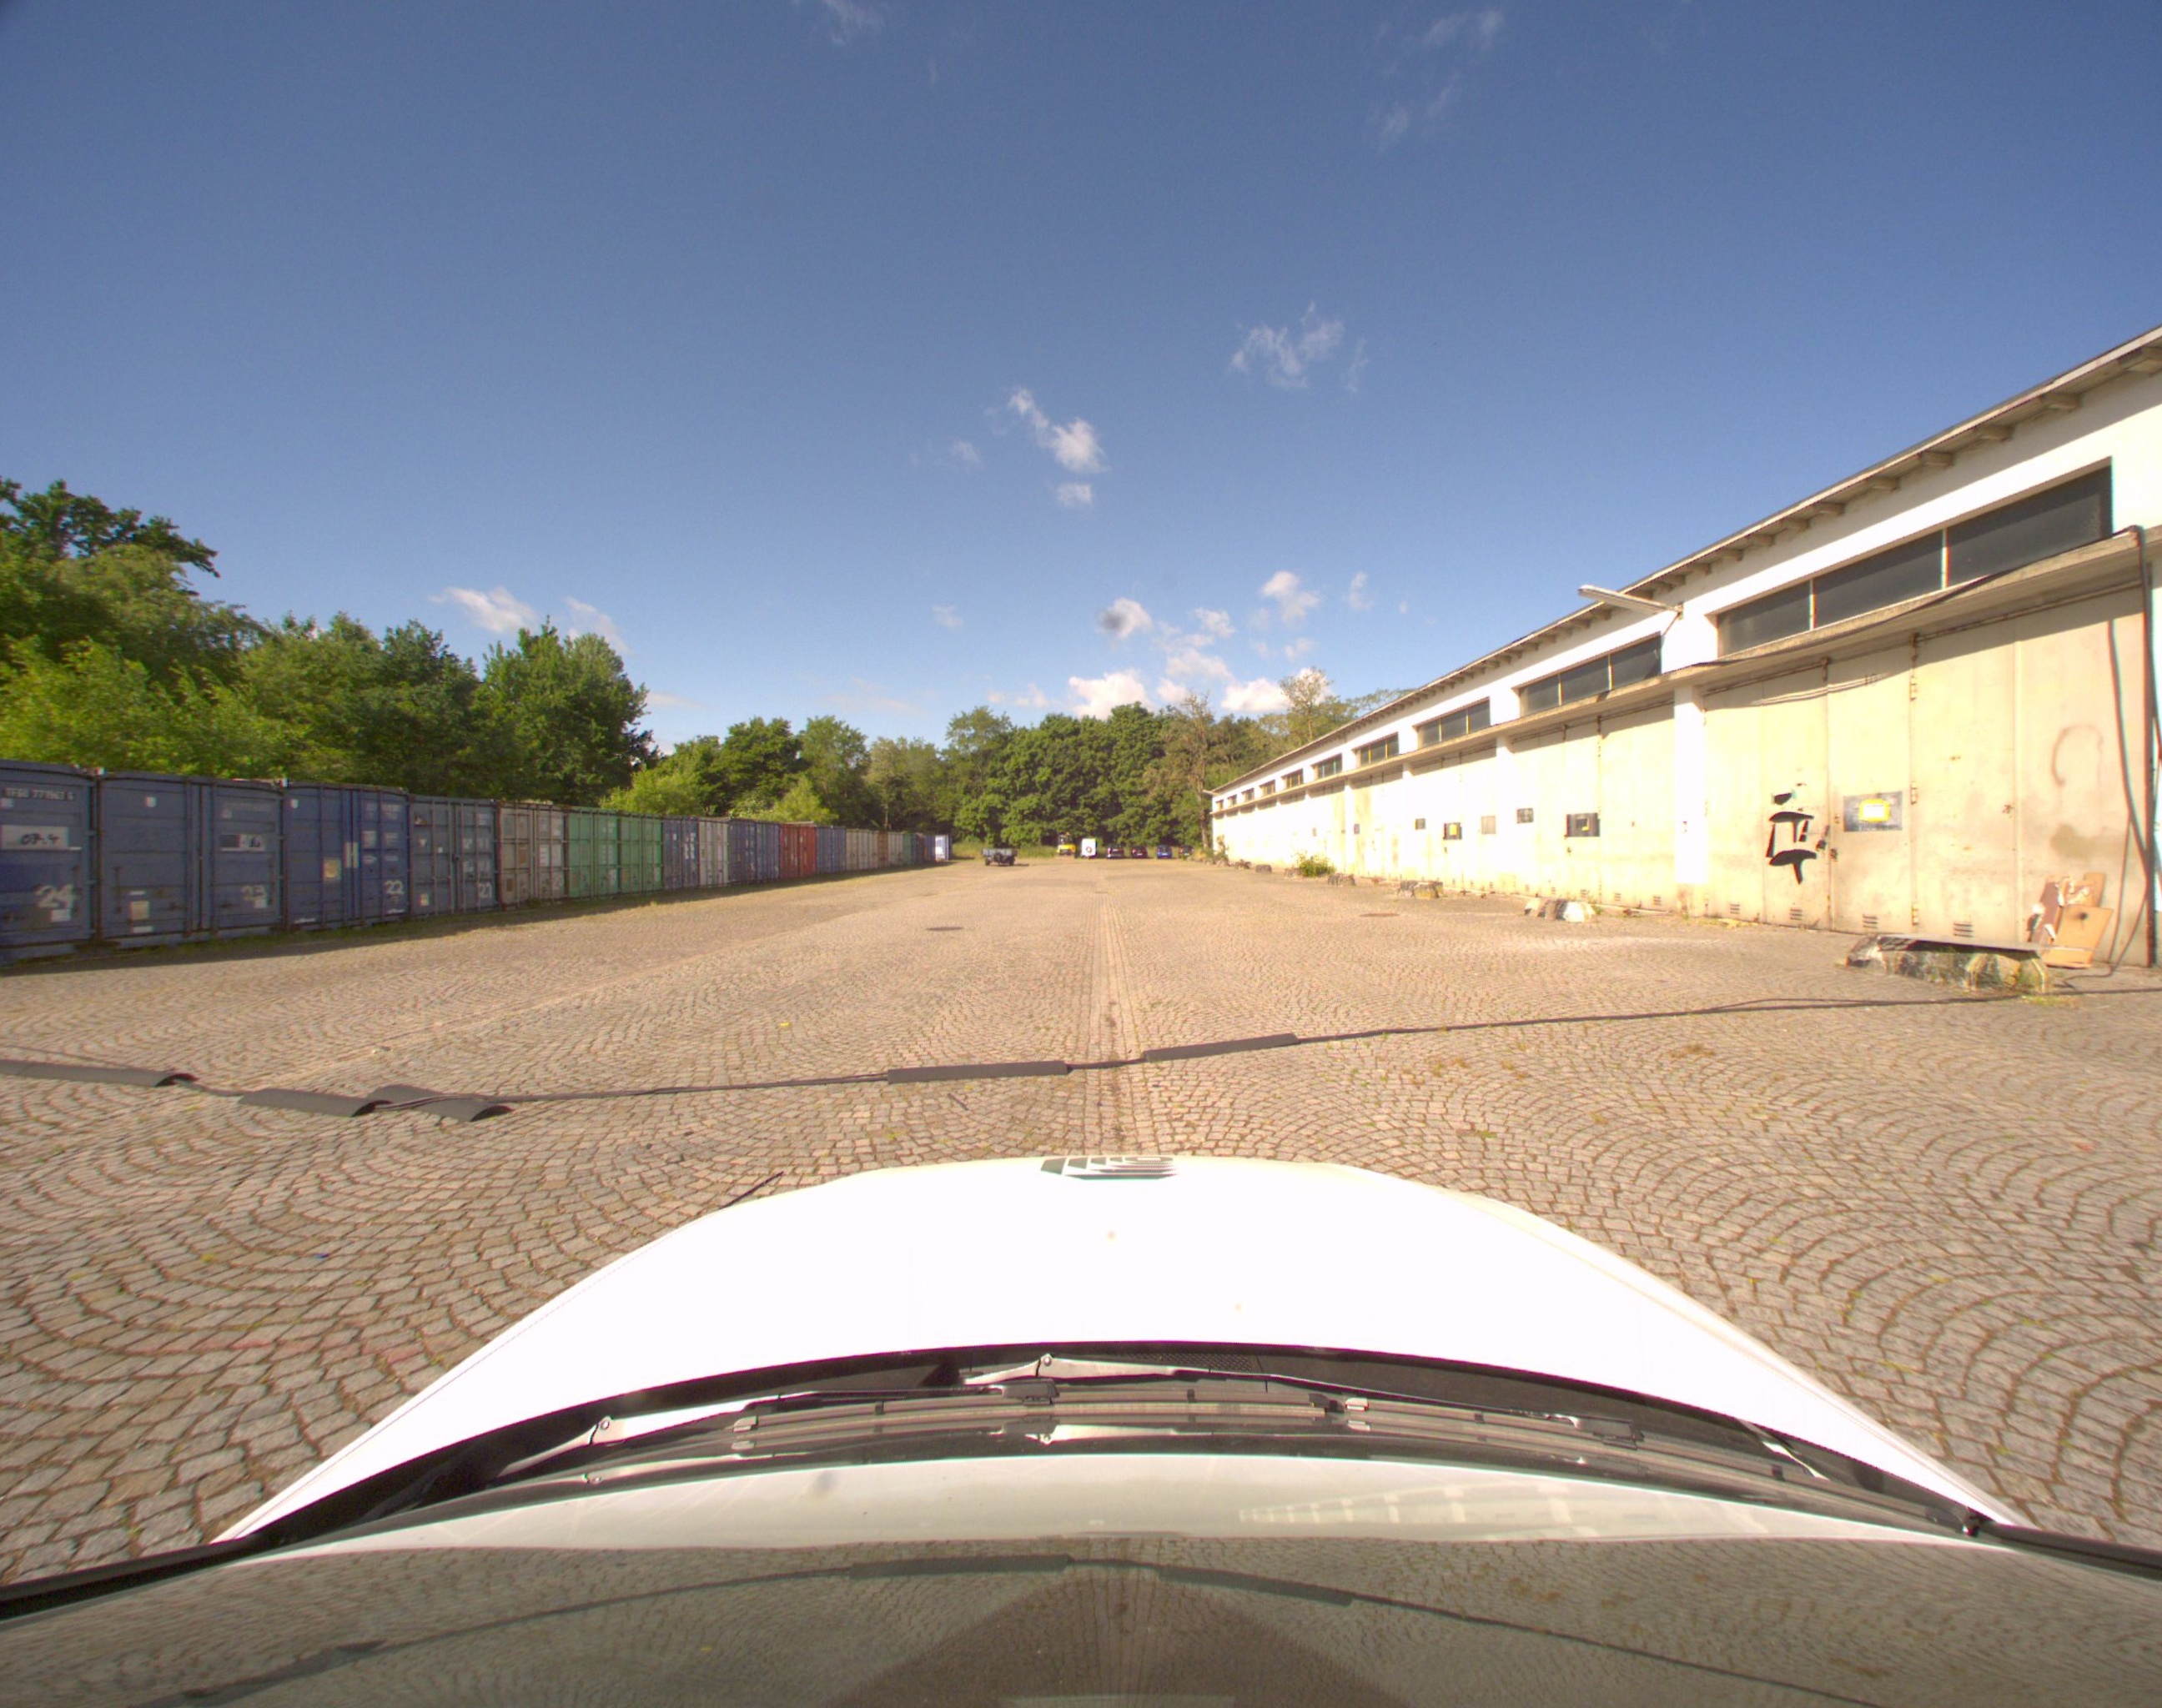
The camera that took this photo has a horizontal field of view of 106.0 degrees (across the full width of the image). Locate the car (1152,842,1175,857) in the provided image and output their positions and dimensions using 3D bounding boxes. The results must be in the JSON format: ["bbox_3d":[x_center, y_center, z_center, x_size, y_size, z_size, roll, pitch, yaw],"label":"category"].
[{"bbox_3d":[8.554,-0.492,84.835,1.986,1.466,4.001,-1,1,1],"label":"car"}]

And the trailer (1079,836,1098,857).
[{"bbox_3d":[0.802,-0.778,85.769,1.987,2.162,4.432,-1,1,1],"label":"trailer"}]

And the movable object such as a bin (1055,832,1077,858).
[{"bbox_3d":[-1.641,-0.945,86.546,2.226,2.657,3.998,-1,1,-1],"label":"movable object such as a bin"}]

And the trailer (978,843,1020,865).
[{"bbox_3d":[-6.704,-0.011,67.276,2.782,1.646,5.620,-1,0,0],"label":"trailer"}]

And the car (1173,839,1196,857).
[{"bbox_3d":[10.932,-0.667,86.059,1.986,1.772,4.001,-1,1,1],"label":"car"}]

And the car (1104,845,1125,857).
[{"bbox_3d":[3.446,-0.335,84.515,1.986,1.258,4.001,-1,1,1],"label":"car"}]

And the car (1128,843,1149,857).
[{"bbox_3d":[5.972,-0.408,84.868,1.986,1.424,4.001,-1,1,1],"label":"car"}]
